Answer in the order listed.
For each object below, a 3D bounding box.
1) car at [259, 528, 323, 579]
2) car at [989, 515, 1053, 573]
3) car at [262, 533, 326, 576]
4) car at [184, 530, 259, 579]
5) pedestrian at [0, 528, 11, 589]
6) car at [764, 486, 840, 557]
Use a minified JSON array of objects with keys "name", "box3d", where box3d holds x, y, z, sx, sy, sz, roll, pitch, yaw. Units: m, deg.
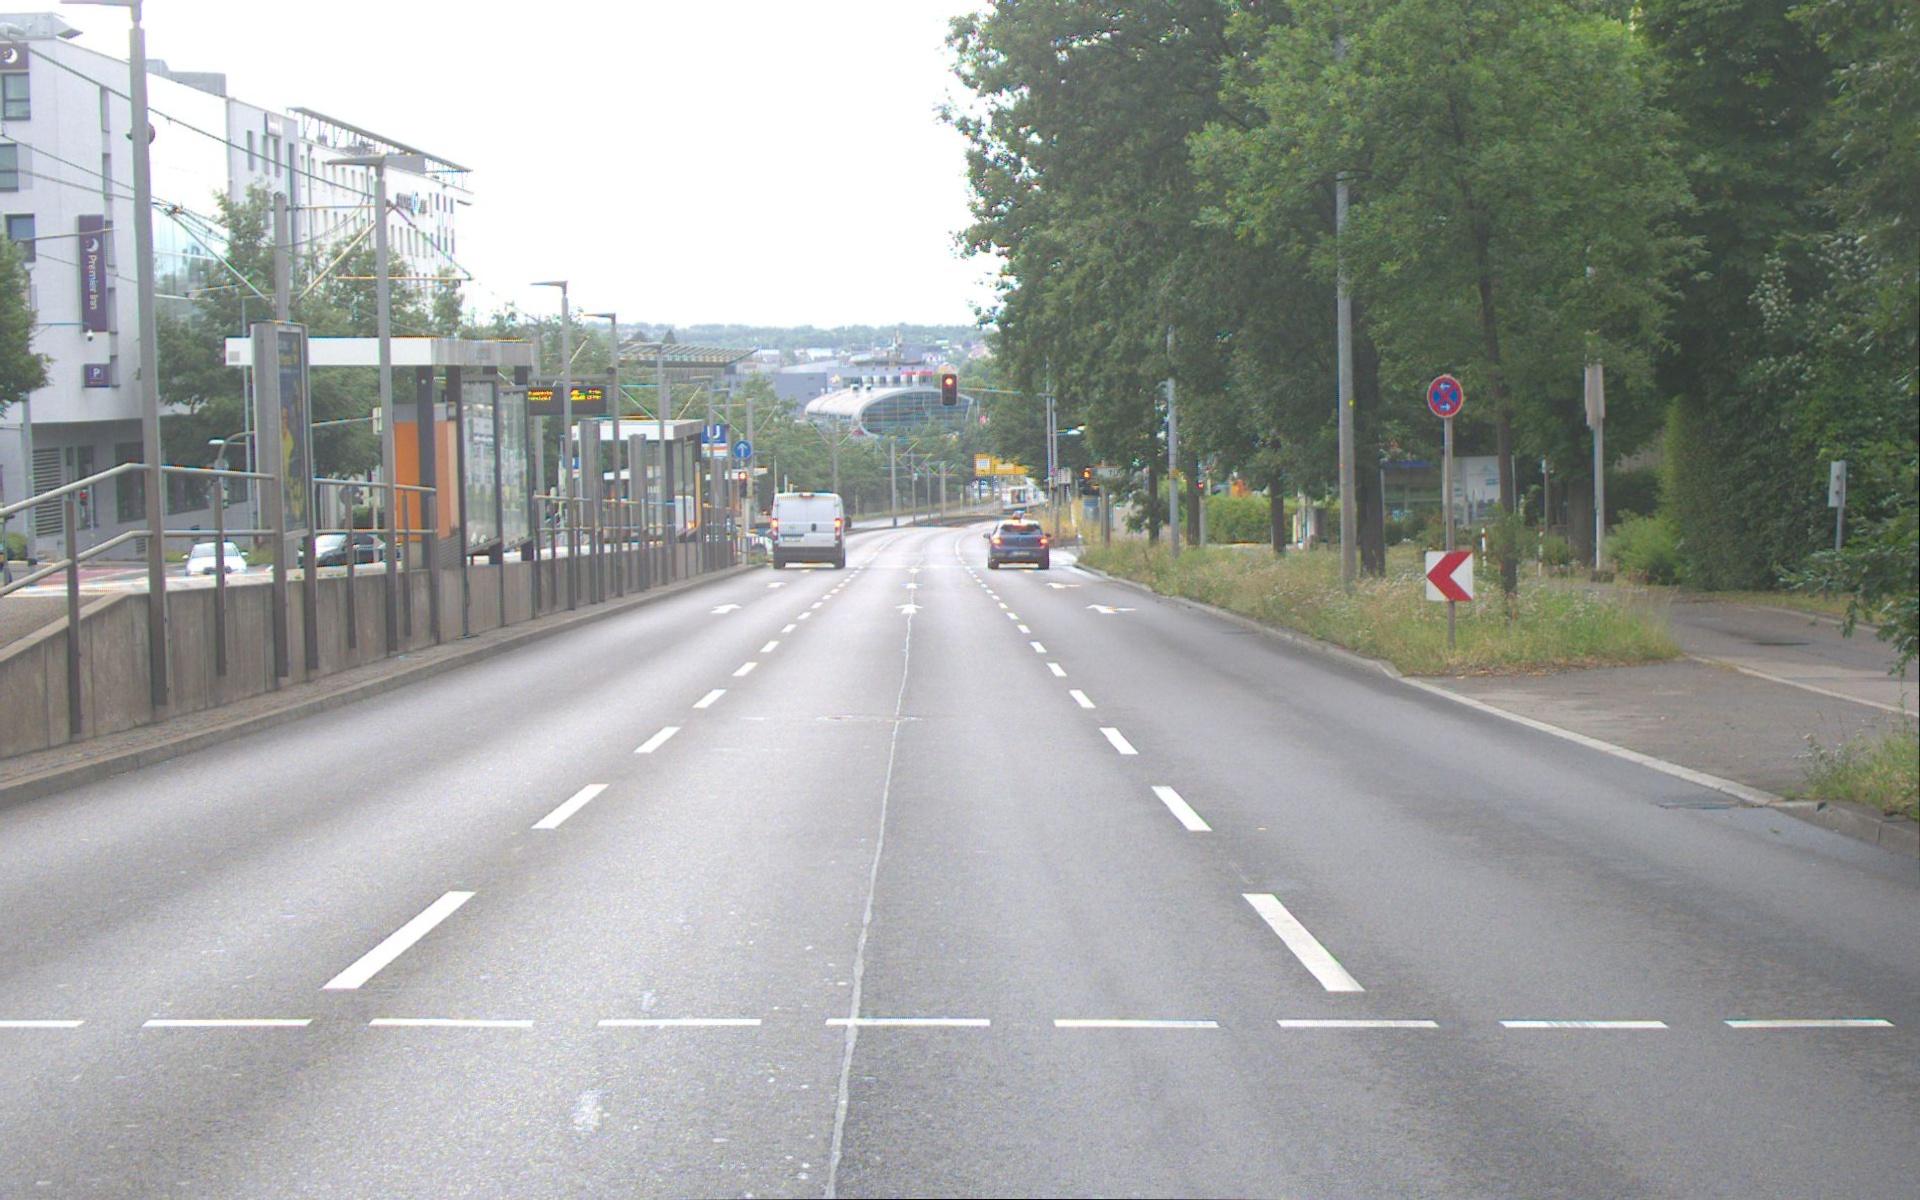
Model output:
[{"name":"car","box3d":[-19.965,-1.382,102.517,1.650,1.431,3.881,-3,1,-13]},{"name":"car","box3d":[1.807,-1.688,102.773,1.774,1.685,3.846,0,1,-1]},{"name":"car","box3d":[-22.135,-1.516,114.316,1.567,1.374,3.519,0,2,-2]},{"name":"car","box3d":[-23.099,-1.442,107.619,1.650,1.431,3.880,-3,1,-3]},{"name":"pedestrian","box3d":[-30.043,-1.299,107.679,0.475,1.914,0.490,0,1,-1]},{"name":"car","box3d":[-4.685,-2.335,102.352,2.093,2.046,4.607,0,1,-1]}]
